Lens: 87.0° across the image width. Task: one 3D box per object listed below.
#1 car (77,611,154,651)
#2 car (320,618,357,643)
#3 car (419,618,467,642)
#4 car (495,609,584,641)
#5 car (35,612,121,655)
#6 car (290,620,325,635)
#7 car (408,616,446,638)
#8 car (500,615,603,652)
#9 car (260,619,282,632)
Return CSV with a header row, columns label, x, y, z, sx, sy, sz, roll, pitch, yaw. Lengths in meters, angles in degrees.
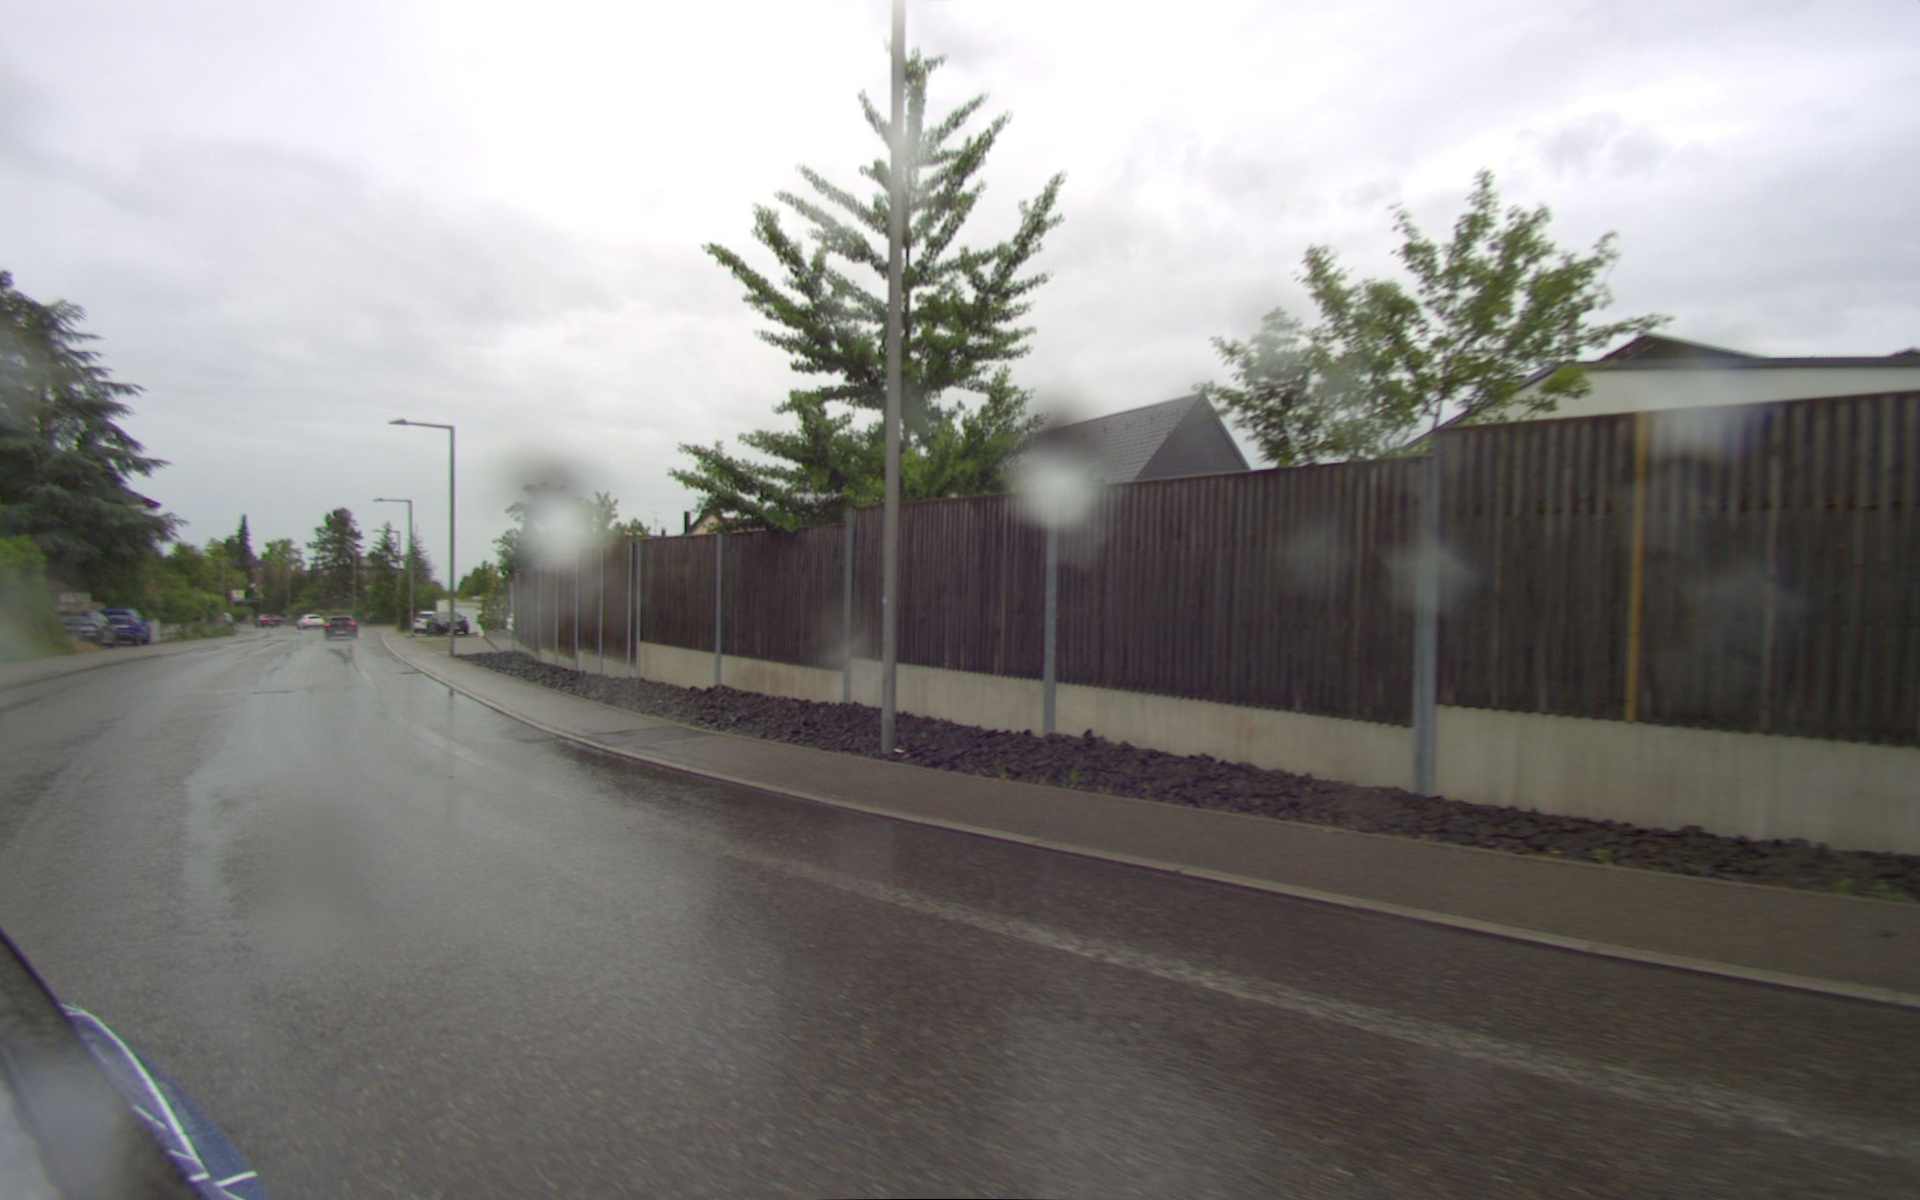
label,x,y,z,sx,sy,sz,roll,pitch,yaw
car,-38.456,1.407,46.181,1.966,1.683,4.557,4,-3,-32
car,-37.904,1.824,61.709,1.855,1.460,4.221,1,-1,-31
car,-32.160,1.837,62.905,1.810,1.416,4.267,0,-1,-40
car,-21.735,1.288,52.439,1.932,1.586,4.022,-1,-1,26
car,-35.383,1.336,40.726,1.785,1.575,4.022,4,-3,-30
car,-65.222,2.740,101.130,4.266,1.471,1.827,-2,-1,42
car,-39.816,1.994,75.684,1.681,1.565,4.402,-1,-1,-17
car,-18.450,1.492,45.917,1.748,1.453,4.503,-1,0,20
car,-79.736,2.976,117.147,1.825,1.481,3.710,-1,-1,-30
